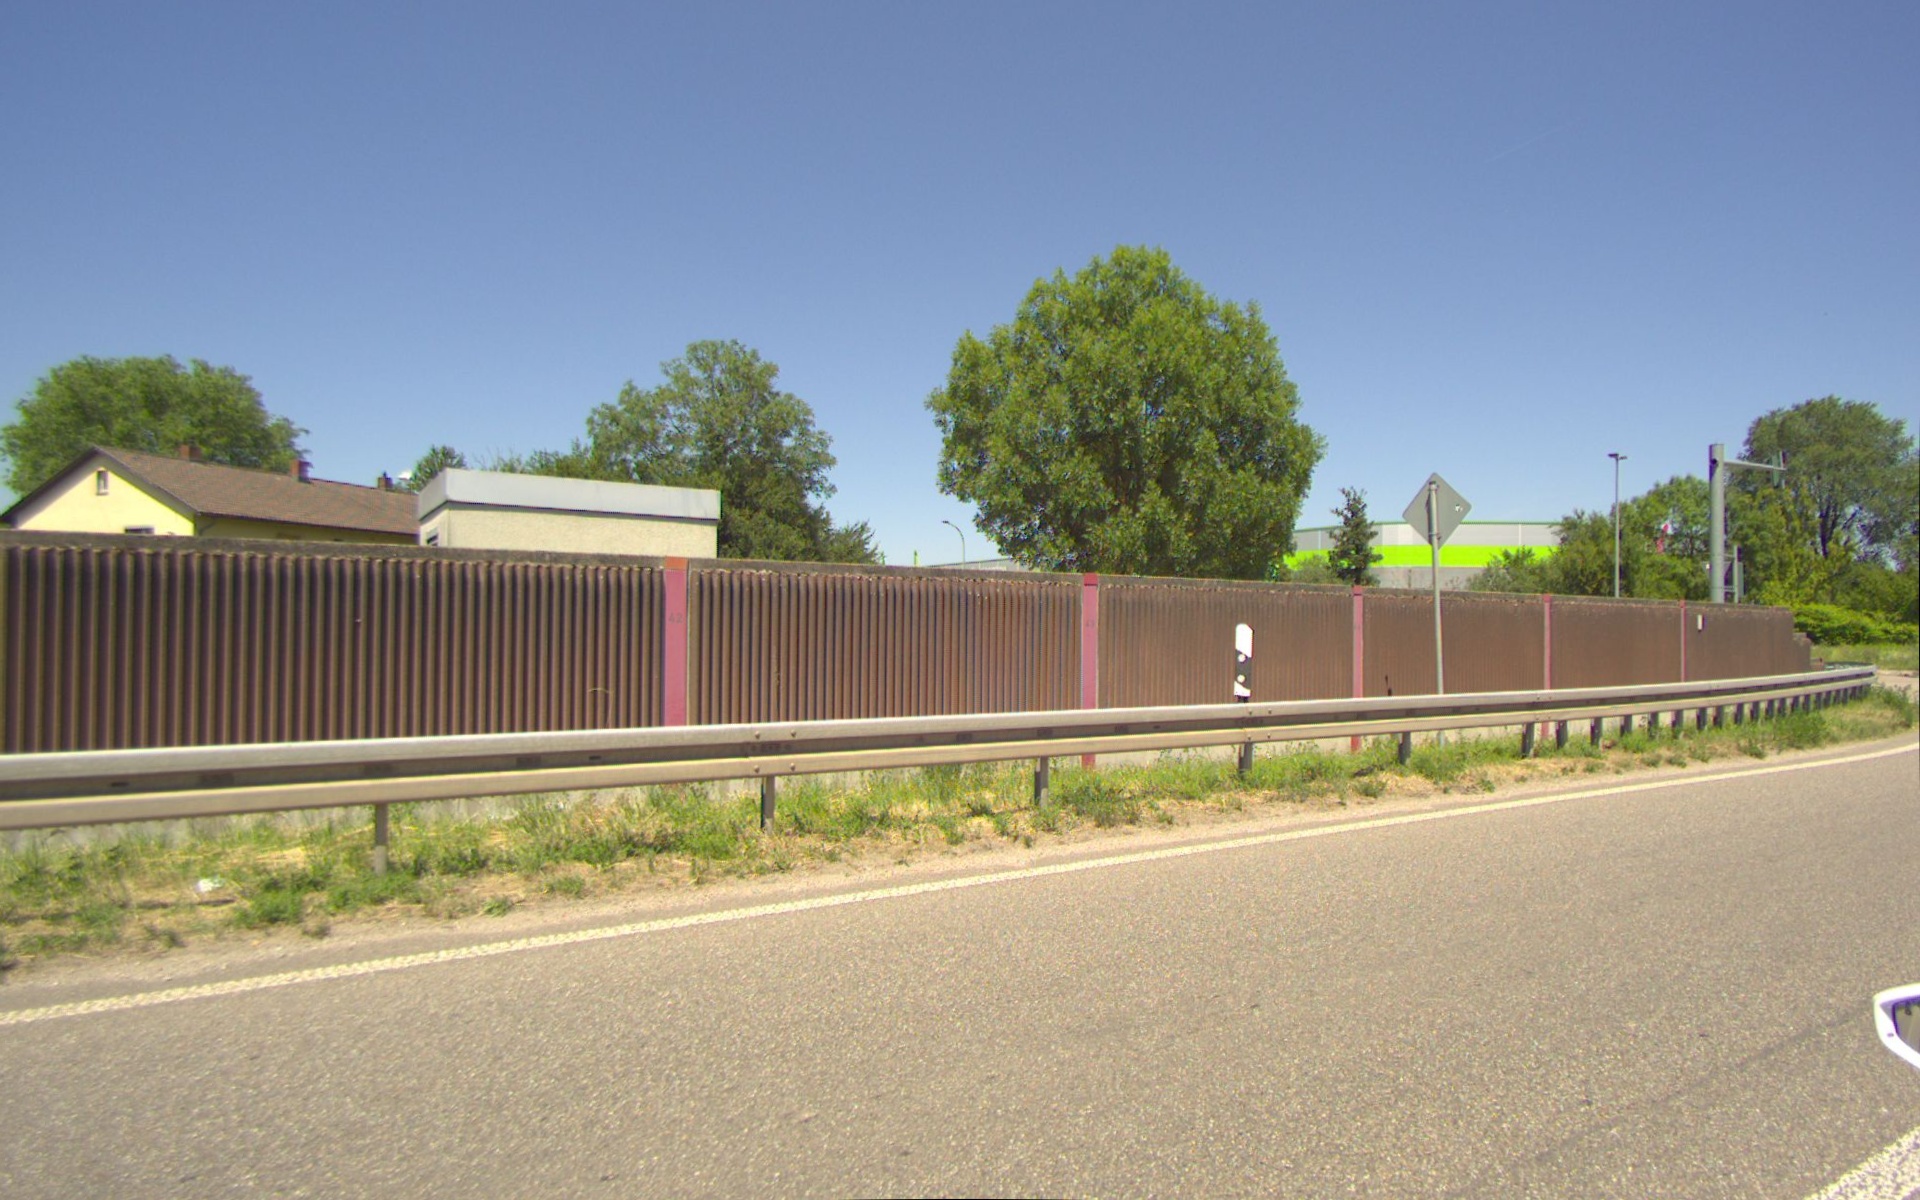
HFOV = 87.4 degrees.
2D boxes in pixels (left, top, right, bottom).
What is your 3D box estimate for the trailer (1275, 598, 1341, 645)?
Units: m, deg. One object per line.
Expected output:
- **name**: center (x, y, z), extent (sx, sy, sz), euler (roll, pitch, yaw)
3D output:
- **trailer**: center (21.432, 1.304, 62.046), extent (3.682, 2.801, 1.827), euler (1, 0, 14)
